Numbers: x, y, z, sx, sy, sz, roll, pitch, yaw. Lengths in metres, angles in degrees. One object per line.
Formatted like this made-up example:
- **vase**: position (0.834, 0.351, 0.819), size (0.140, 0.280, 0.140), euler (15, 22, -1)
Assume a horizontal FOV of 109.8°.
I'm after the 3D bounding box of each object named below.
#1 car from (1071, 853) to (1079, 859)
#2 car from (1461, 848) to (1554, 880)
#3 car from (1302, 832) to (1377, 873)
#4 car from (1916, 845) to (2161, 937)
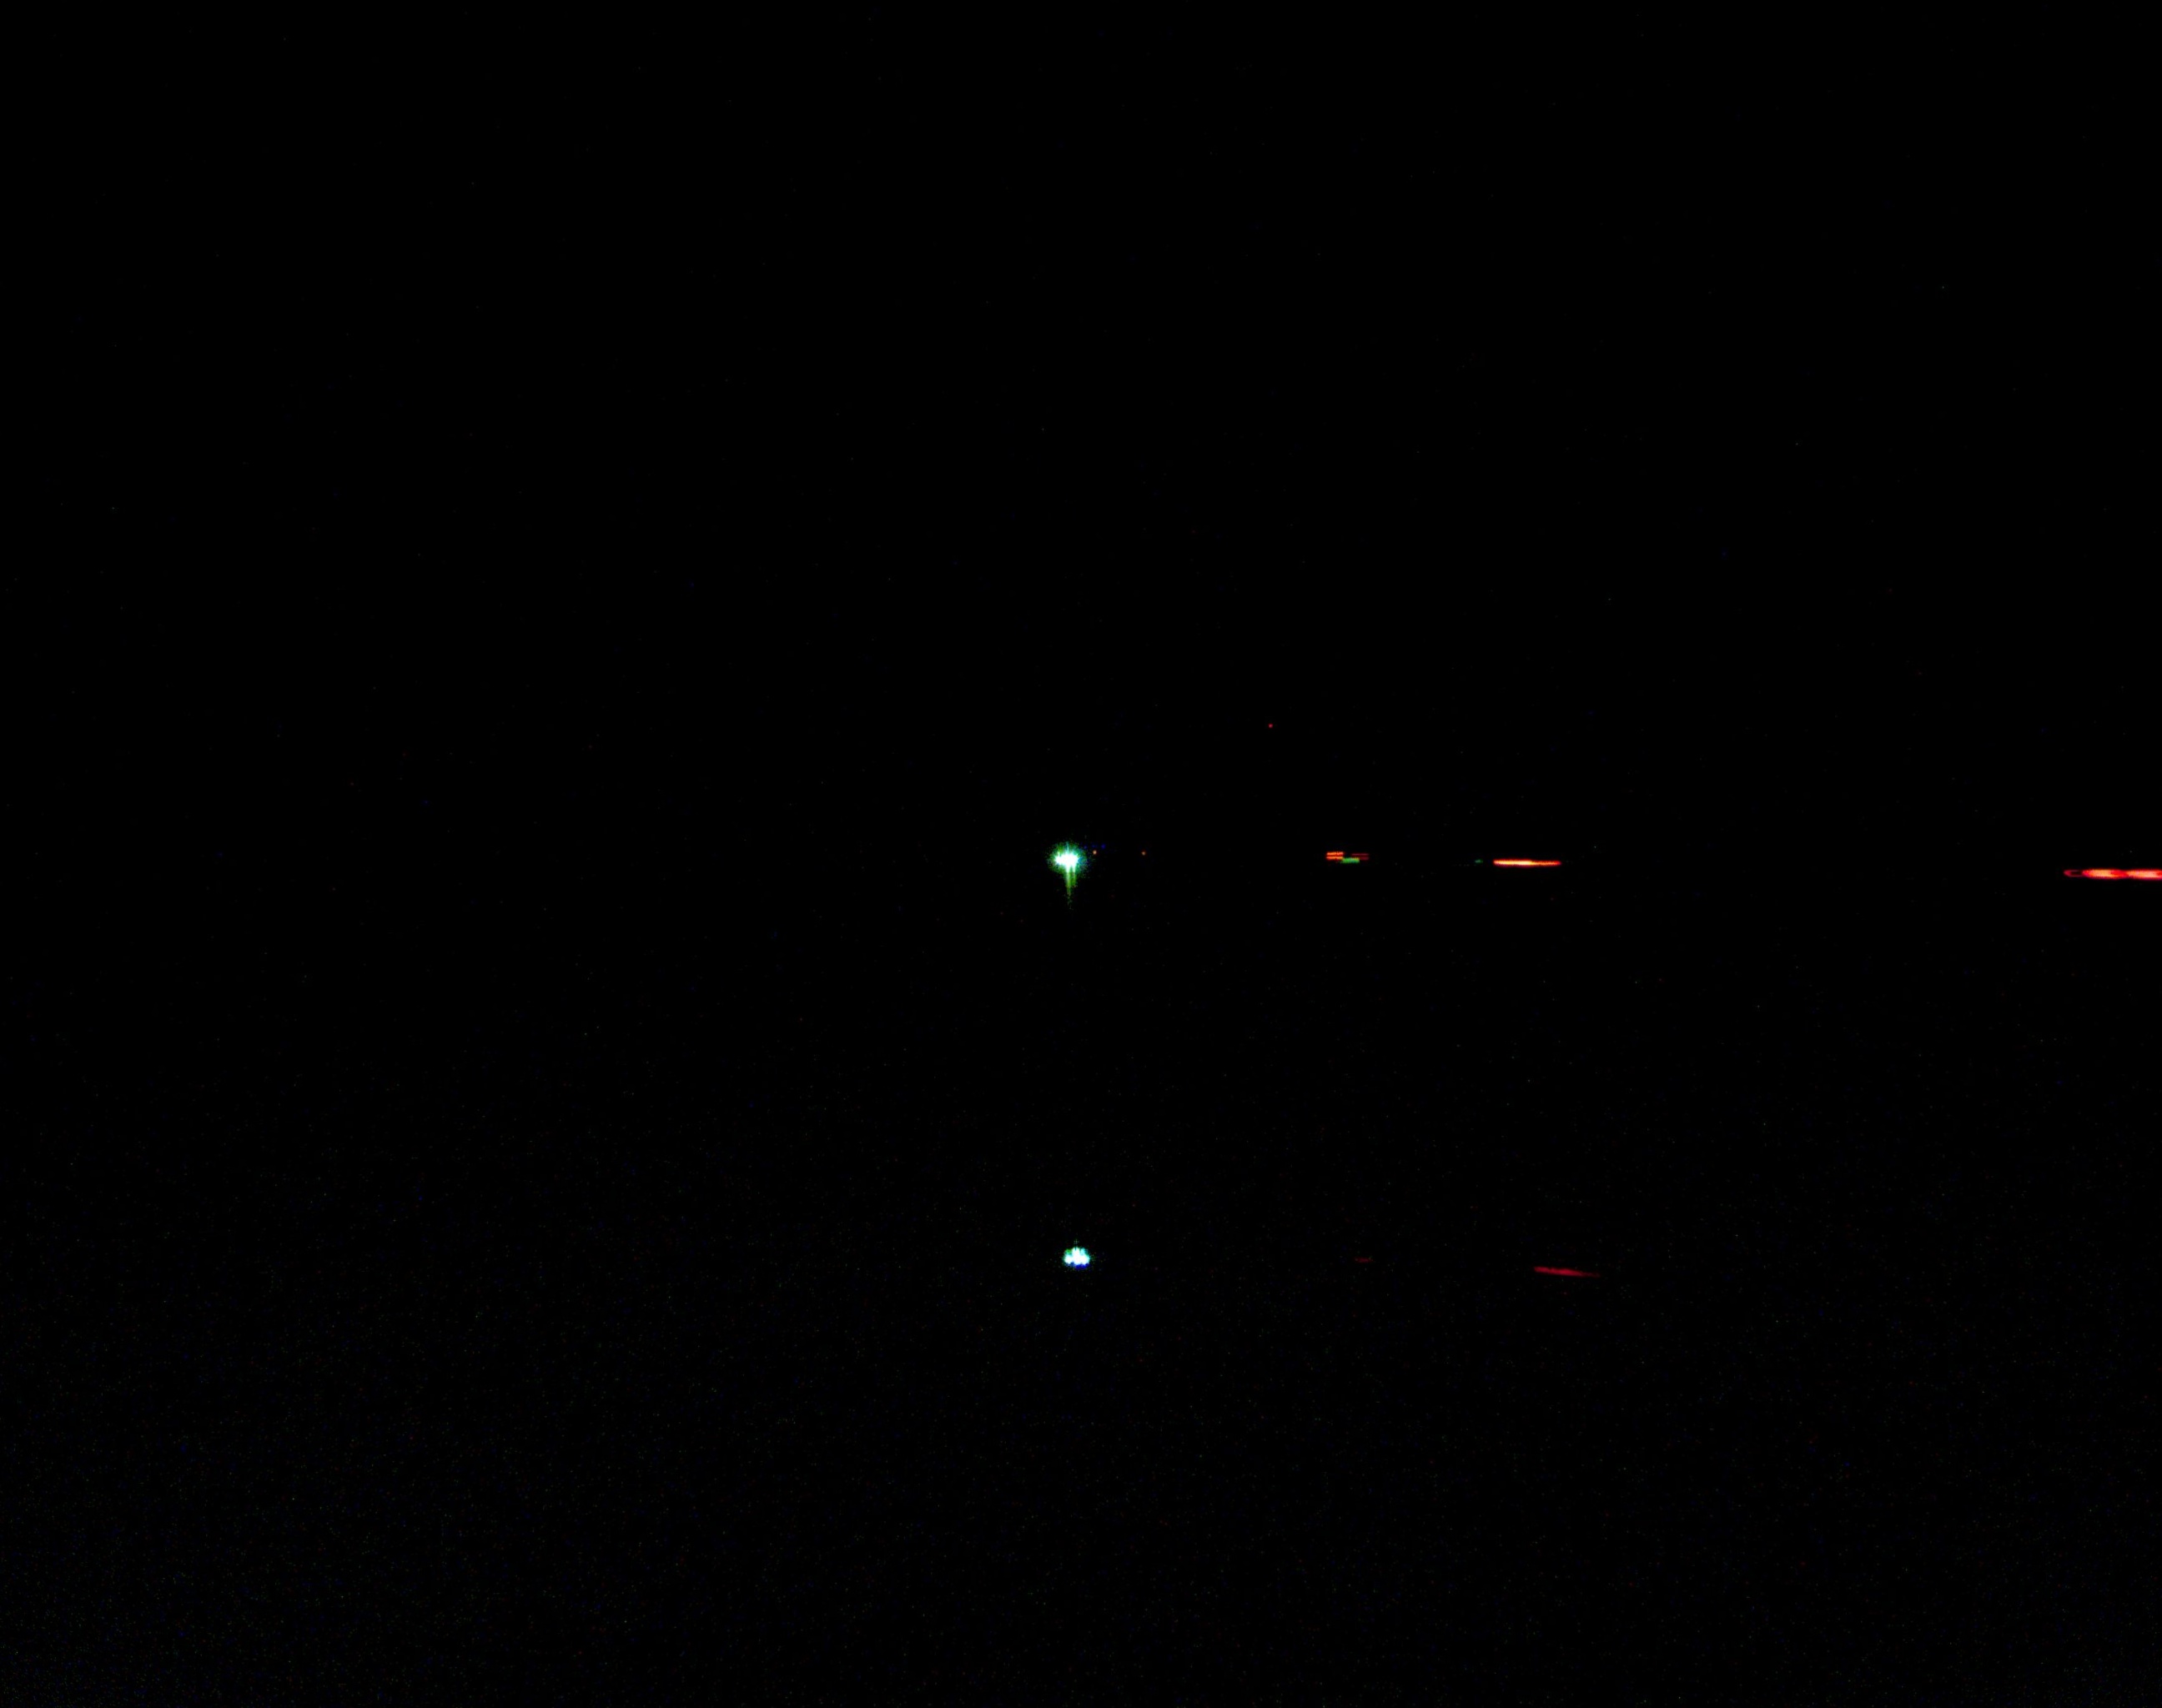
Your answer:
- **car**: position (-1.445, 0.490, 190.325), size (1.846, 1.474, 4.293), euler (-3, -1, -1)
- **car**: position (22.823, 0.505, 40.922), size (2.056, 1.589, 5.076), euler (-2, 0, -1)
- **car**: position (19.289, -0.116, 57.295), size (2.961, 2.840, 7.716), euler (-2, 0, 0)
- **car**: position (18.895, 0.611, 13.998), size (1.866, 1.489, 4.705), euler (-2, 0, 0)
